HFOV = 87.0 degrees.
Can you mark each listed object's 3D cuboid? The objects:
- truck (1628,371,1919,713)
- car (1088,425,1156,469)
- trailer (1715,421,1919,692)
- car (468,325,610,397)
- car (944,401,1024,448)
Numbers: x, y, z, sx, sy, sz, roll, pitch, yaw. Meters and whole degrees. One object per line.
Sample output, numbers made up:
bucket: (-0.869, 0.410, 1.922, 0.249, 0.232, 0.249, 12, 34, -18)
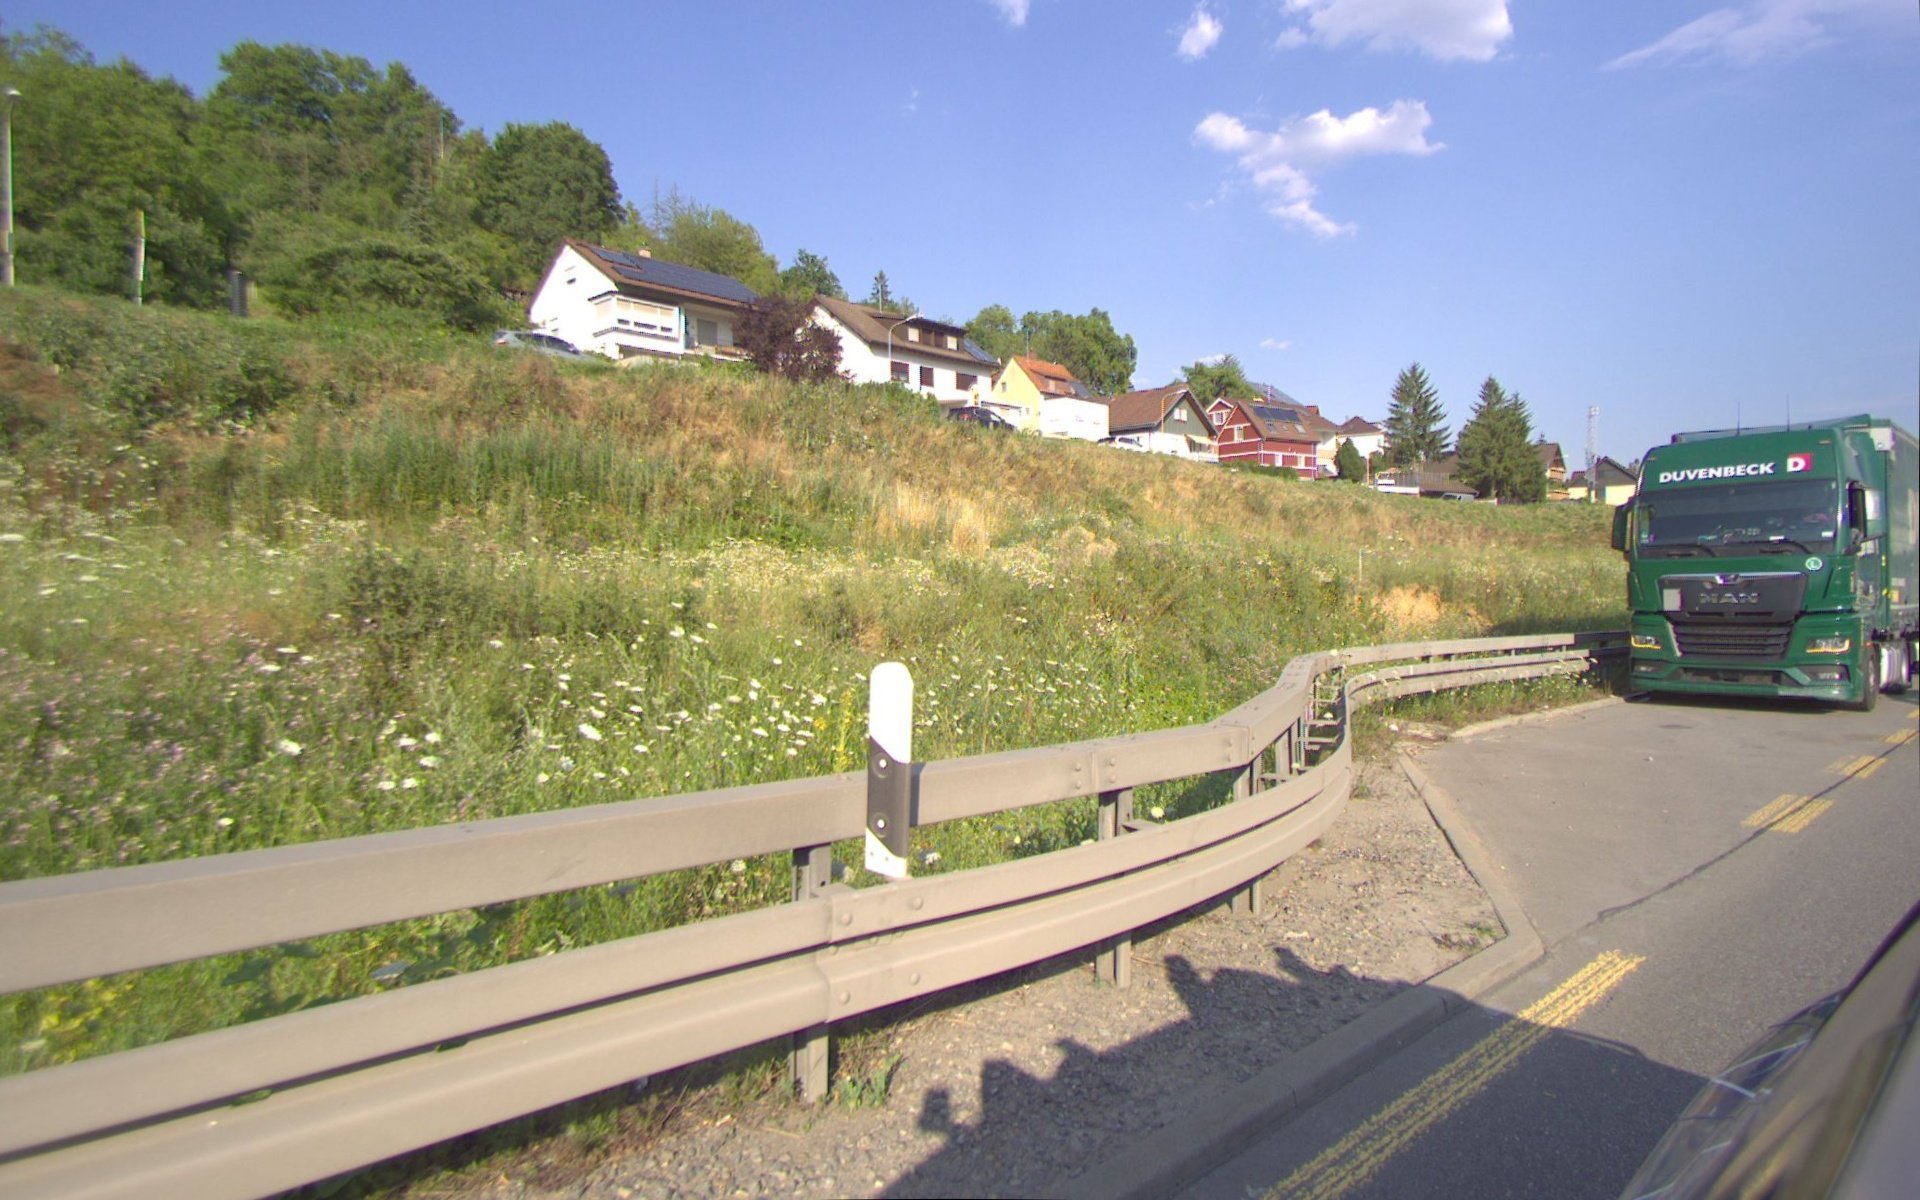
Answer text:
truck: (12.327, -0.722, 14.936, 5.964, 4.066, 2.545, -1, 0, -40)
car: (9.595, -9.020, 59.868, 3.932, 2.039, 1.996, 0, 0, -43)
trailer: (17.832, -0.697, 19.678, 11.868, 3.983, 2.552, -1, 0, -41)
car: (-14.013, -7.907, 33.816, 1.994, 1.460, 3.935, 0, 0, 45)
car: (1.251, -8.733, 50.648, 1.991, 1.661, 3.942, 0, 0, 40)
